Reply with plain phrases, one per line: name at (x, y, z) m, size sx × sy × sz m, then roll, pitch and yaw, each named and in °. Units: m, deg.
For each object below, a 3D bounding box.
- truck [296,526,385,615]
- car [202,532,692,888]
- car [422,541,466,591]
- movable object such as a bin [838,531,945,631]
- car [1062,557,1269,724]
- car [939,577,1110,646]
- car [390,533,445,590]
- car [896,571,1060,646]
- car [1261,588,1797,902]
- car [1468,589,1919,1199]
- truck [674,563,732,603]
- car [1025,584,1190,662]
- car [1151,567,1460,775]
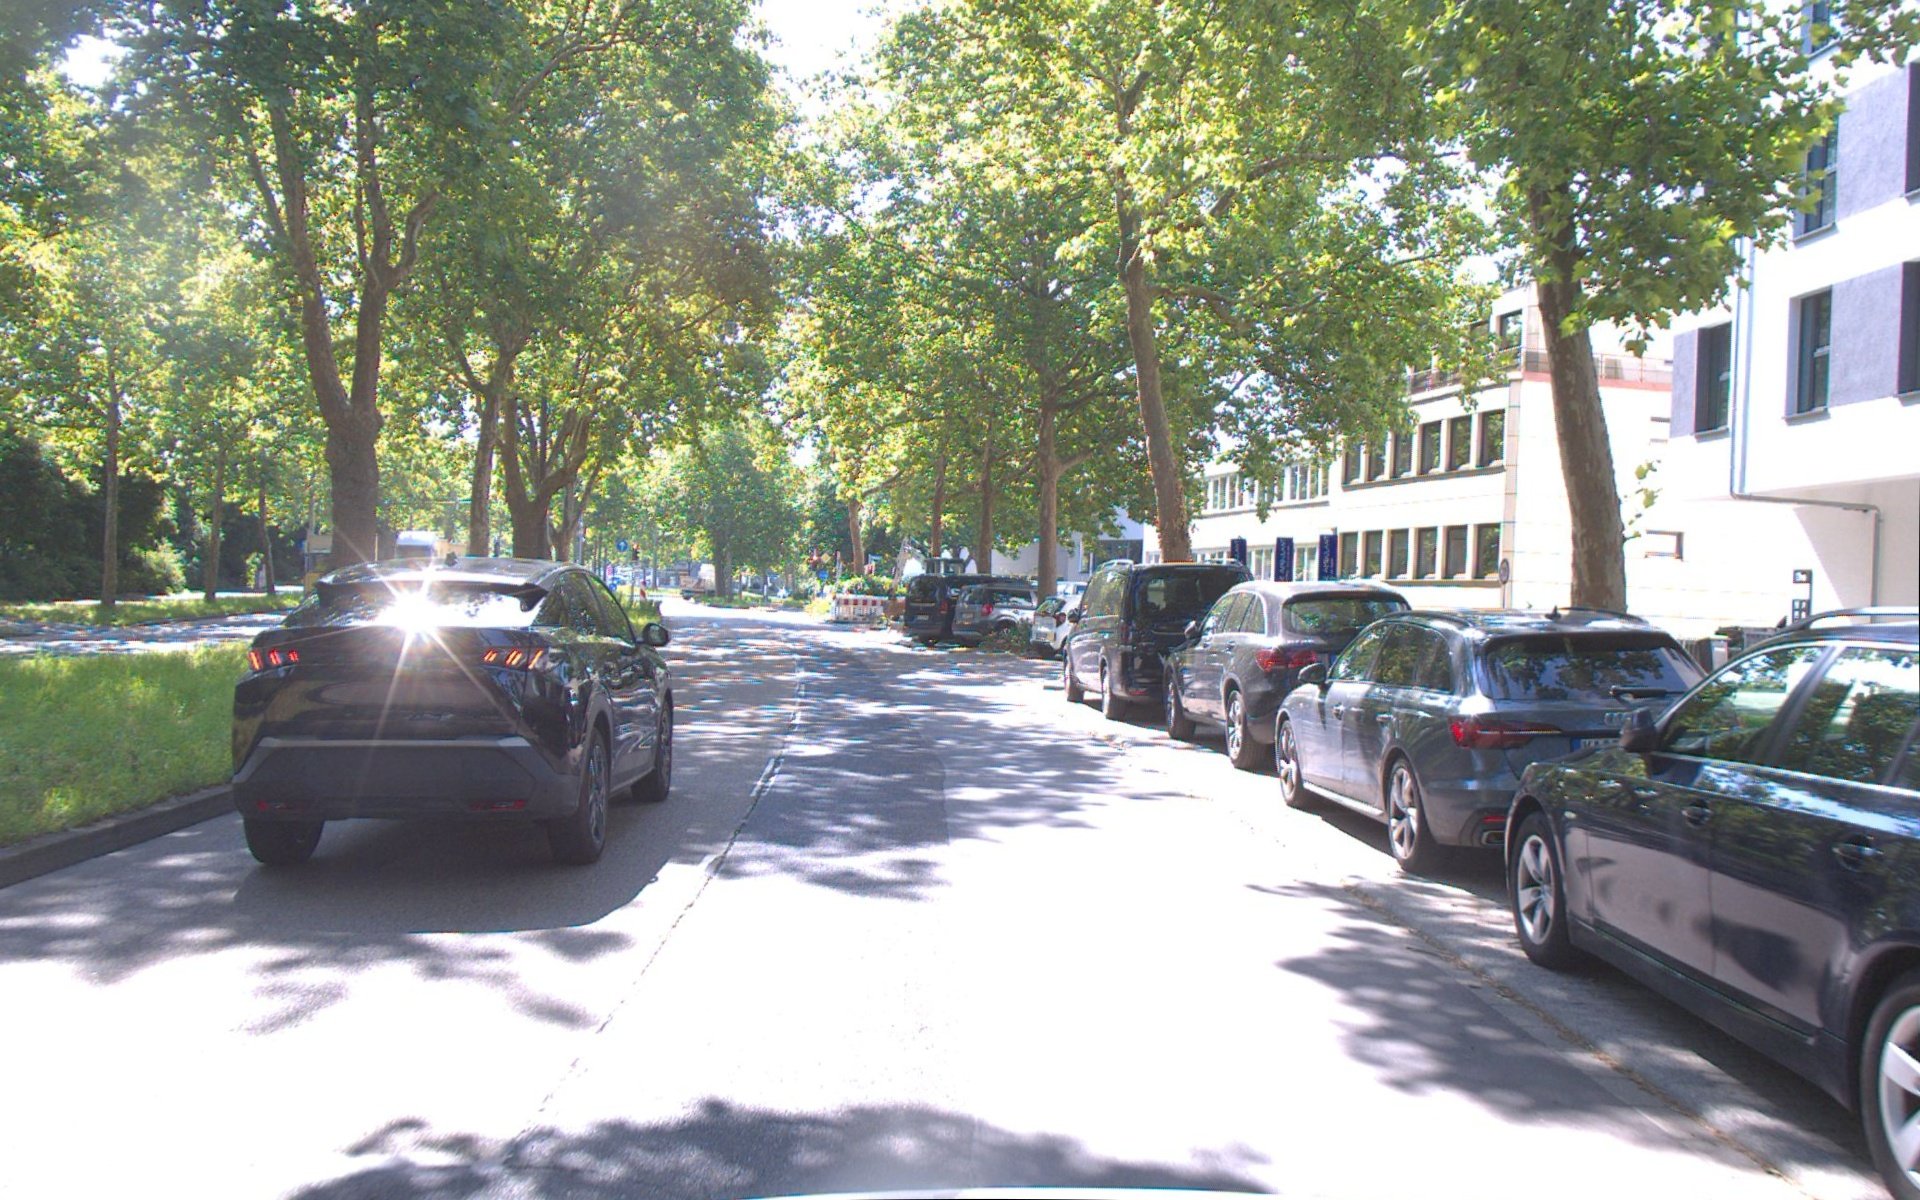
truck at (-26.539, -1.299, 71.075) m, size 2.408 × 3.509 × 7.077 m, roll 4°, pitch 1°, yaw -13°
car at (-2.849, 0.524, 10.270) m, size 1.835 × 1.726 × 4.433 m, roll 0°, pitch 0°, yaw -3°
car at (-37.929, -2.468, 121.726) m, size 2.020 × 3.494 × 6.754 m, roll 2°, pitch 0°, yaw -9°
movable object such as a bin at (-2.392, -0.656, 56.730) m, size 2.303 × 3.297 × 3.397 m, roll 2°, pitch 0°, yaw -30°
car at (2.519, 0.448, 21.435) m, size 1.673 × 1.874 × 4.721 m, roll 2°, pitch 0°, yaw -5°
car at (1.664, 0.291, 42.689) m, size 4.040 × 1.662 × 1.702 m, roll 2°, pitch 0°, yaw -21°
car at (-36.120, -2.584, 110.325) m, size 2.407 × 3.509 × 7.081 m, roll 4°, pitch 1°, yaw -11°
car at (0.495, 0.229, 44.617) m, size 4.043 × 1.912 × 1.773 m, roll 2°, pitch 0°, yaw -23°
car at (3.248, 0.711, 10.476) m, size 1.672 × 1.513 × 4.482 m, roll 2°, pitch 0°, yaw -2°
car at (3.178, 0.732, 5.233) m, size 1.672 × 1.480 × 4.655 m, roll 2°, pitch 0°, yaw 0°
truck at (-25.105, -1.655, 161.808) m, size 5.420 × 3.742 × 1.997 m, roll 2°, pitch 0°, yaw -6°
car at (3.381, 0.515, 38.144) m, size 3.485 × 1.668 × 1.656 m, roll 2°, pitch 0°, yaw -8°
car at (3.165, 0.582, 16.109) m, size 1.673 × 1.698 × 4.529 m, roll 2°, pitch 0°, yaw -5°
